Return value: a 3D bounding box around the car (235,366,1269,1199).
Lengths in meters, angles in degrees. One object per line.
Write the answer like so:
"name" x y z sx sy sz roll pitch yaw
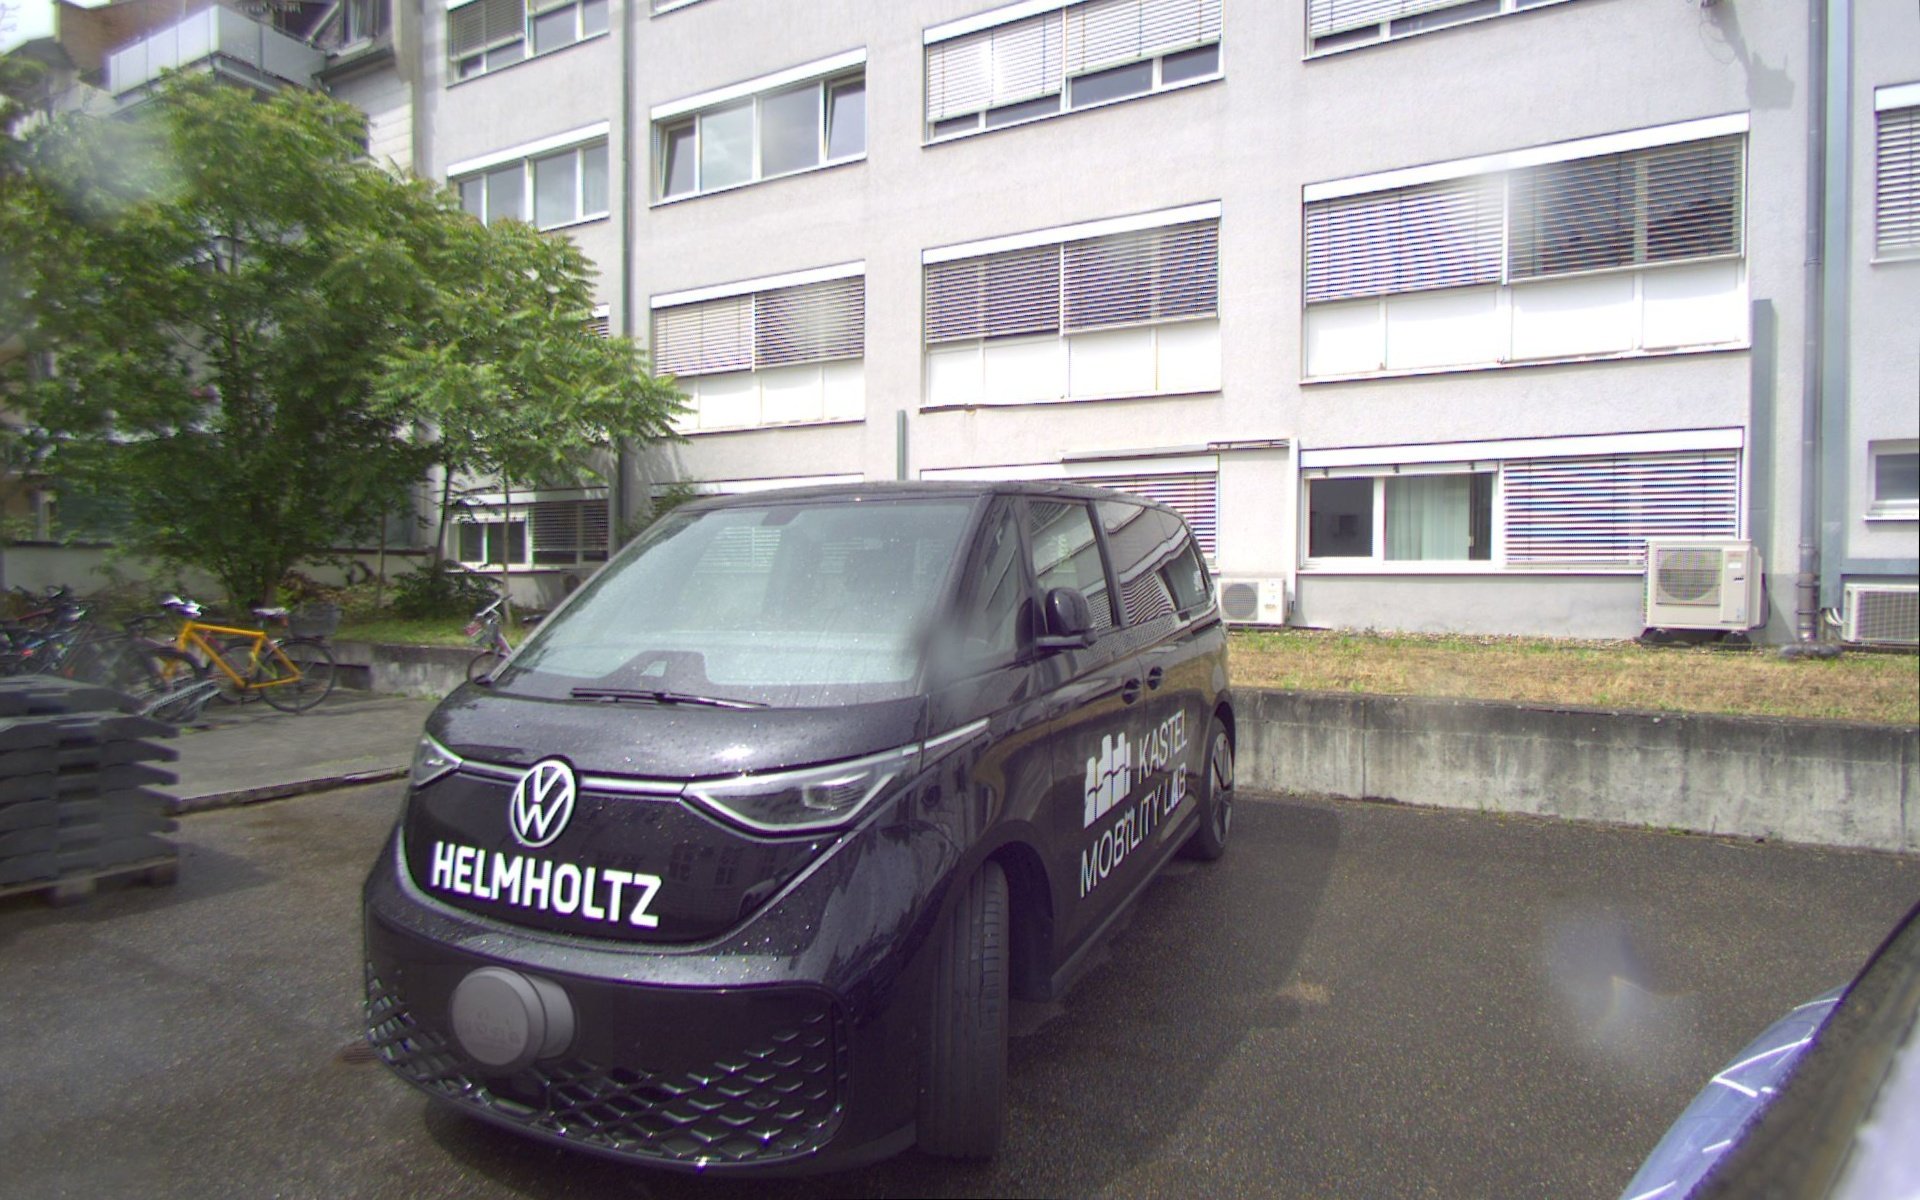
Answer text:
"car" -0.032 0.430 4.393 1.950 1.887 4.707 0 2 26

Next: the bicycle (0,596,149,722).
"bicycle" -8.653 0.533 9.424 0.329 1.117 1.739 1 1 26

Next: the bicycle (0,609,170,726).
"bicycle" -8.347 0.603 9.278 0.326 0.979 1.780 1 1 27

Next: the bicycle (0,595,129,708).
"bicycle" -9.657 0.519 10.405 0.351 1.117 1.739 1 1 26

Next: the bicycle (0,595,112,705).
"bicycle" -9.983 0.517 10.569 0.338 1.117 1.739 1 1 26

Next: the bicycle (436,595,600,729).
"bicycle" -4.178 0.545 9.513 1.782 1.117 0.442 1 4 31

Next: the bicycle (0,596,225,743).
"bicycle" -7.303 0.543 8.524 0.403 1.117 1.774 1 1 34

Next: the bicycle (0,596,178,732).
"bicycle" -8.010 0.539 8.903 0.352 1.117 1.774 1 1 34

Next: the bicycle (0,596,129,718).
"bicycle" -8.977 0.532 9.578 0.339 1.117 1.739 1 1 26

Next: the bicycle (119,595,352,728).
"bicycle" -6.764 0.528 9.549 0.364 1.117 1.774 1 1 34

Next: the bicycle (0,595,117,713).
"bicycle" -9.350 0.527 9.881 0.342 1.117 1.739 1 1 26
